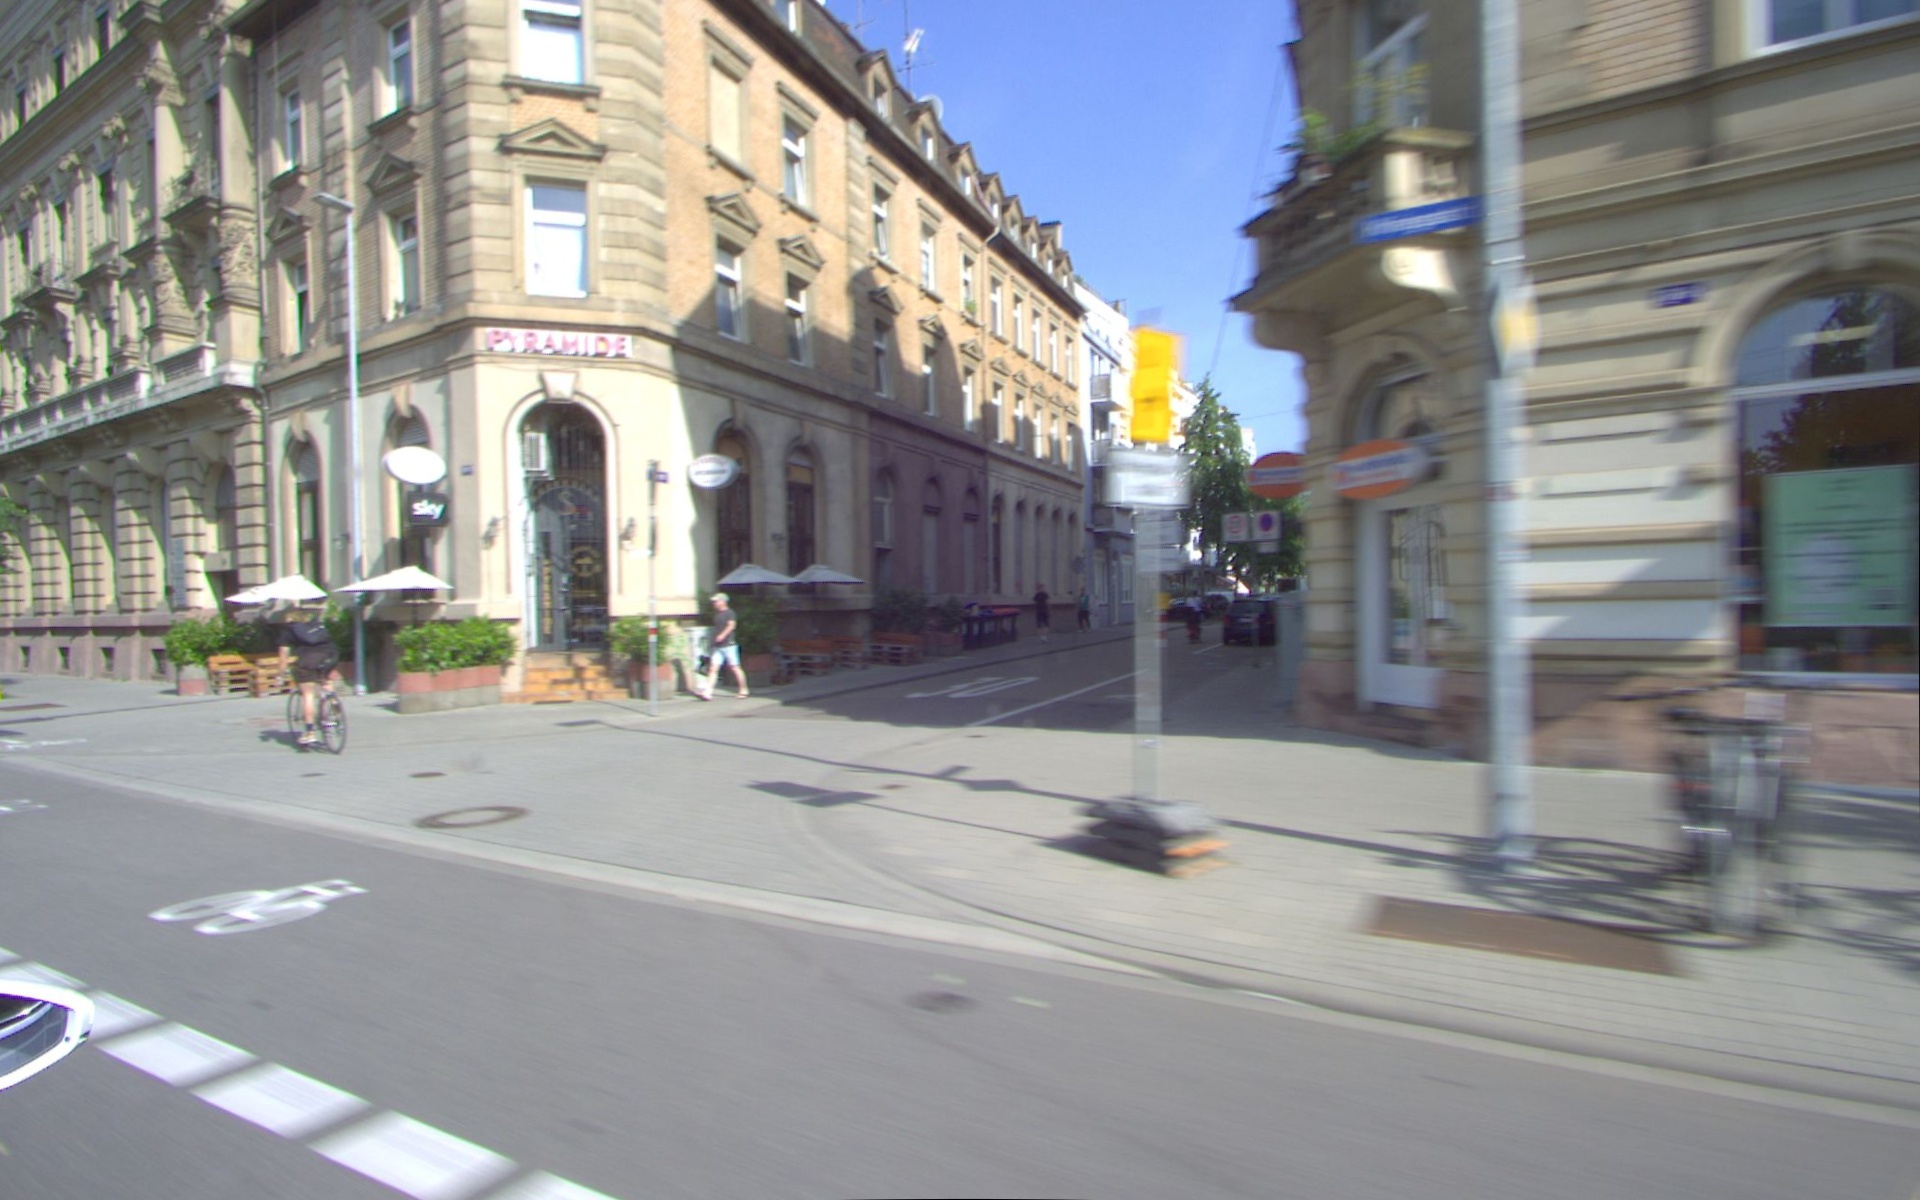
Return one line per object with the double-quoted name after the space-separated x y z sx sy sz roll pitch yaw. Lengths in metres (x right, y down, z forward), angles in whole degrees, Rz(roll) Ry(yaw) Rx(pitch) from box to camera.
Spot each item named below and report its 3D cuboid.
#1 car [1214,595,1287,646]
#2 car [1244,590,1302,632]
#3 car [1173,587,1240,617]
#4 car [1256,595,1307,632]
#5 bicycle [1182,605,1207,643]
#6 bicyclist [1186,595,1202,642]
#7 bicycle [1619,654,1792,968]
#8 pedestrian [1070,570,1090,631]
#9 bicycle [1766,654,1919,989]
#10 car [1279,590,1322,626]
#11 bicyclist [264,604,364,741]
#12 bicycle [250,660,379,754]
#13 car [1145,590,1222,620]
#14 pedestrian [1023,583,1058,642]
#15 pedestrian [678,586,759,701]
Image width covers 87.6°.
9.251 0.614 31.686 1.713 1.439 3.793 -1 1 24 "car"
11.654 0.383 37.146 1.636 1.439 3.617 -1 1 24 "car"
16.532 0.105 67.165 3.923 1.918 1.871 -1 1 -7 "car"
13.514 0.526 42.012 1.636 1.439 3.617 -1 1 24 "car"
7.658 0.765 32.688 0.429 1.154 1.990 0 0 23 "bicycle"
7.629 0.592 32.621 0.429 1.533 0.505 0 1 24 "bicyclist"
3.599 0.894 4.885 0.575 1.102 1.746 0 3 36 "bicycle"
4.717 0.018 39.433 0.731 2.397 0.580 -1 1 10 "pedestrian"
4.052 0.877 4.494 0.575 1.102 1.746 0 3 36 "bicycle"
16.505 0.363 48.399 1.636 1.611 3.617 -1 1 24 "car"
-7.440 0.807 11.532 0.918 1.502 0.582 -1 1 31 "bicyclist"
-7.476 1.203 11.575 1.759 0.966 0.504 -1 1 31 "bicycle"
12.967 0.293 58.241 3.923 1.617 1.999 -1 0 -7 "car"
2.638 0.394 32.751 0.852 1.876 0.815 2 2 24 "pedestrian"
-4.020 0.690 16.721 0.978 1.831 0.860 1 3 28 "pedestrian"
